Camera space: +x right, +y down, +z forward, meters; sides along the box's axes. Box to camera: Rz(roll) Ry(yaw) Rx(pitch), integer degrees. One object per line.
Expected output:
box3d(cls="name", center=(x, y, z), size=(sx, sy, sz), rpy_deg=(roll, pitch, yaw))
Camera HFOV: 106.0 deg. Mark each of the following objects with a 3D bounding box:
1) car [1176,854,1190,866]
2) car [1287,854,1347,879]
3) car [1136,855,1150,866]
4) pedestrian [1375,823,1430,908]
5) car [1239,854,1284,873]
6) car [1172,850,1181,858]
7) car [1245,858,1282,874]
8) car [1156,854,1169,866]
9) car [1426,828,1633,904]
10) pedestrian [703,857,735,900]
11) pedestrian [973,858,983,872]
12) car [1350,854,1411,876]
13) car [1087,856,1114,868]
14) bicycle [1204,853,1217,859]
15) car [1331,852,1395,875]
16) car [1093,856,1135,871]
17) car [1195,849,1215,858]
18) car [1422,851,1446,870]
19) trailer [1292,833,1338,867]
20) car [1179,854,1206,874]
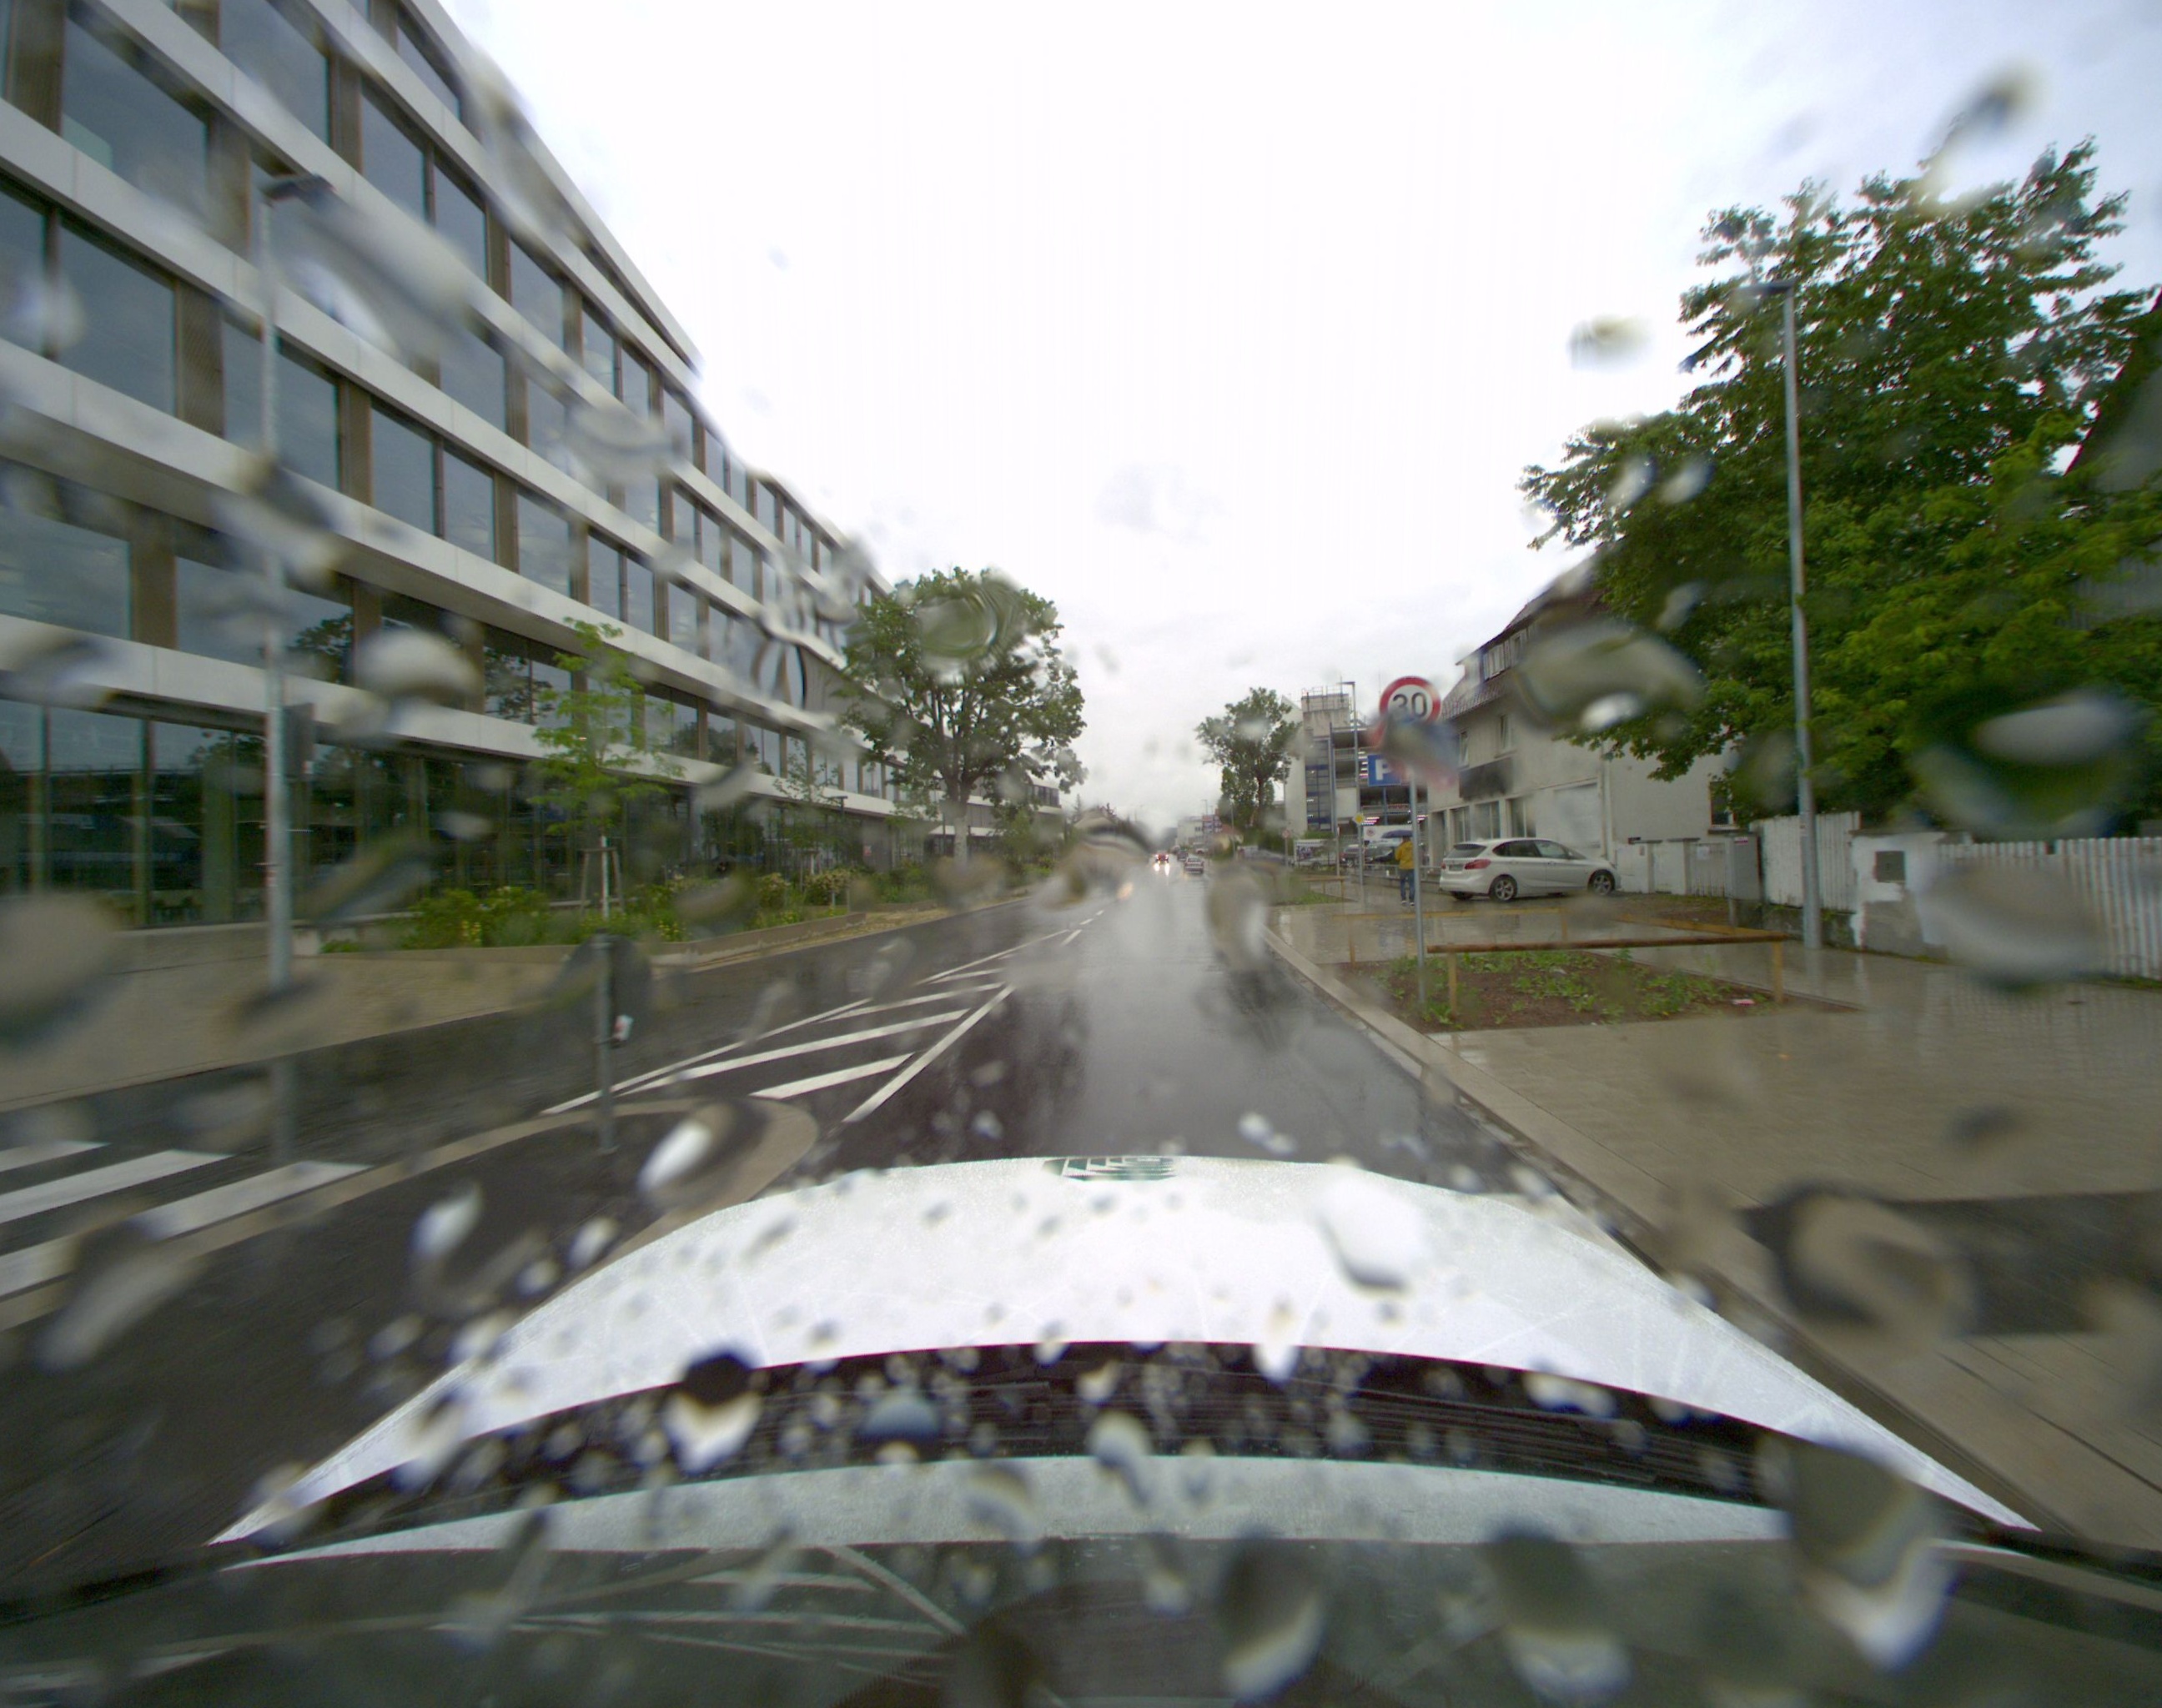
box3d(cls="car", center=(17.425, 1.036, 139.009), size=(2.143, 1.706, 4.006), rpy_deg=(2, -2, 6))
box3d(cls="car", center=(16.398, 0.871, 56.762), size=(3.707, 1.529, 1.653), rpy_deg=(-3, -2, 6))
box3d(cls="car", center=(9.419, 0.958, 123.971), size=(1.983, 1.629, 4.160), rpy_deg=(-2, 0, 6))
box3d(cls="pedestrian", center=(8.071, 0.284, 20.484), size=(0.855, 2.014, 1.196), rpy_deg=(-4, -1, 4))
box3d(cls="car", center=(17.855, 0.946, 80.635), size=(4.175, 1.650, 2.008), rpy_deg=(-4, -1, 16))
box3d(cls="car", center=(22.071, 0.029, 188.581), size=(1.983, 1.706, 4.006), rpy_deg=(2, -2, 6))
box3d(cls="car", center=(18.662, 1.215, 83.275), size=(3.594, 1.494, 1.813), rpy_deg=(-3, -1, 15))
box3d(cls="car", center=(12.487, 0.960, 124.915), size=(1.993, 1.818, 4.986), rpy_deg=(-1, -1, 5))
box3d(cls="car", center=(11.135, 0.290, 20.394), size=(4.127, 1.580, 1.994), rpy_deg=(-3, -1, -8))
box3d(cls="pedestrian", center=(-14.833, 1.019, 33.391), size=(0.720, 1.704, 0.959), rpy_deg=(2, -2, 9))
box3d(cls="pedestrian", center=(-12.278, 1.327, 97.302), size=(1.009, 1.724, 0.773), rpy_deg=(-1, -1, 3))
box3d(cls="car", center=(21.341, 0.802, 58.149), size=(3.710, 1.449, 1.732), rpy_deg=(-2, -1, 2))
box3d(cls="car", center=(3.495, 1.429, 146.676), size=(4.739, 2.014, 1.999), rpy_deg=(2, -2, -1))
box3d(cls="bicycle", center=(26.375, 0.471, 165.453), size=(0.672, 1.067, 3.598), rpy_deg=(3, -2, -25))
box3d(cls="car", center=(21.833, 0.732, 63.226), size=(4.336, 1.651, 1.847), rpy_deg=(-2, -1, 4))
box3d(cls="car", center=(3.240, 0.929, 79.262), size=(3.907, 1.423, 1.902), rpy_deg=(-1, -1, 6))
box3d(cls="car", center=(26.188, -0.065, 172.257), size=(4.095, 1.706, 1.789), rpy_deg=(2, -2, 3))
box3d(cls="car", center=(33.650, 0.596, 77.731), size=(1.716, 1.679, 4.019), rpy_deg=(-3, -1, 18))
box3d(cls="trailer", center=(15.551, -0.258, 54.266), size=(2.686, 2.171, 1.551), rpy_deg=(-1, -1, 8))
box3d(cls="car", center=(9.664, 0.907, 70.715), size=(1.940, 1.556, 4.003), rpy_deg=(2, -2, 4))
